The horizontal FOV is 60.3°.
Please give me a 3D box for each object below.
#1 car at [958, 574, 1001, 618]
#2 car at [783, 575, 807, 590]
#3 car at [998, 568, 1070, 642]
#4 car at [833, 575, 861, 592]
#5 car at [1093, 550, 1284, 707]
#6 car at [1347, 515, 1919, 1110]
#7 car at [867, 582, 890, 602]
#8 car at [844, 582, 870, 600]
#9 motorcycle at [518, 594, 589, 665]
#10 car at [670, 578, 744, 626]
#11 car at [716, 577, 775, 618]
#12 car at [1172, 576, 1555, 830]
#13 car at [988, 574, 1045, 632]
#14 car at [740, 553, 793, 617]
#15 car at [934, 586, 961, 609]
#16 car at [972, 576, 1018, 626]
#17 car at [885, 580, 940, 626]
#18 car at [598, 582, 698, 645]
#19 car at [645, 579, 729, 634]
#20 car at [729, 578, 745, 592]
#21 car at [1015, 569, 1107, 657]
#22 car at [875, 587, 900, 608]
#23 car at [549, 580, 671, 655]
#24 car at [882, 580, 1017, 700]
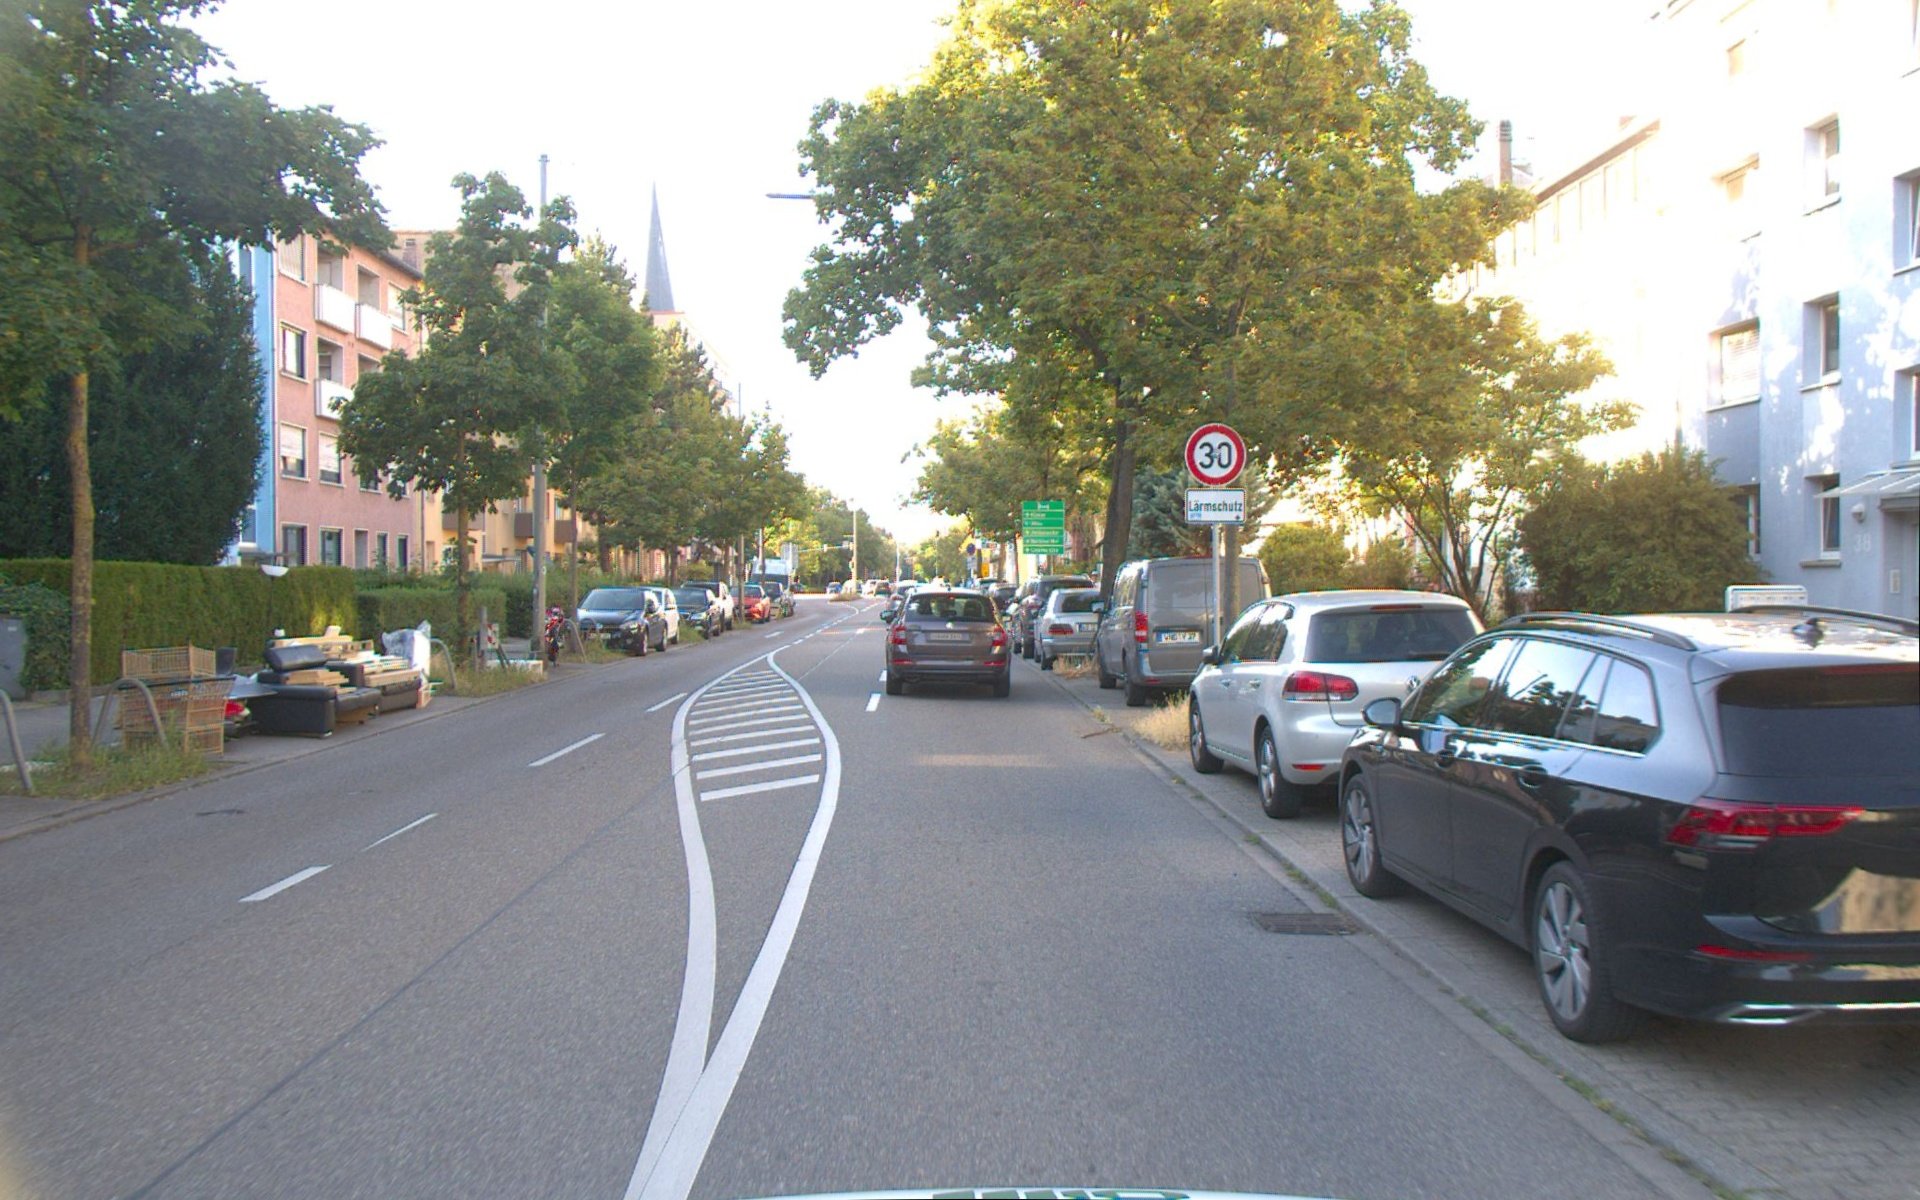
[{"bbox_3d":[0.831,-0.201,71.655,1.718,1.837,3.999,1,1,-1],"label":"car"},{"bbox_3d":[-18.864,-2.023,188.576,1.625,1.627,3.570,-1,1,-26],"label":"car"},{"bbox_3d":[1.904,0.096,43.542,1.718,1.837,4.000,1,1,0],"label":"car"},{"bbox_3d":[-12.231,-1.764,178.745,1.964,1.780,3.978,-1,1,-19],"label":"car"},{"bbox_3d":[2.991,0.306,22.828,1.877,1.892,5.633,0,1,0],"label":"car"},{"bbox_3d":[2.987,0.599,6.936,1.718,1.716,4.252,1,1,0],"label":"car"},{"bbox_3d":[-7.771,-0.776,157.592,1.955,1.780,3.994,0,1,-7],"label":"car"},{"bbox_3d":[-10.379,-0.953,166.530,1.960,1.780,3.984,-1,1,-15],"label":"car"},{"bbox_3d":[-7.537,0.527,30.756,0.725,1.225,2.142,1,1,1],"label":"motorcycle"},{"bbox_3d":[-8.351,0.032,54.912,1.744,1.506,3.971,1,1,1],"label":"car"},{"bbox_3d":[-8.434,-0.126,65.383,1.744,1.506,3.971,1,1,1],"label":"car"},{"bbox_3d":[2.838,0.646,12.576,1.719,1.584,4.102,1,0,-3],"label":"car"},{"bbox_3d":[1.842,0.069,54.810,1.718,1.837,4.000,1,1,0],"label":"car"},{"bbox_3d":[-9.072,-0.723,77.927,1.951,2.829,5.502,1,1,-2],"label":"car"},{"bbox_3d":[-0.934,-0.220,122.390,1.613,1.626,3.645,0,1,-7],"label":"car"},{"bbox_3d":[1.372,0.012,66.207,1.718,1.837,4.000,-3,1,0],"label":"car"},{"bbox_3d":[-1.741,0.111,60.034,1.854,1.532,3.788,3,0,-2],"label":"car"},{"bbox_3d":[-8.014,0.312,42.783,1.744,1.506,3.971,1,1,1],"label":"car"},{"bbox_3d":[-8.069,0.163,49.222,1.744,1.506,3.971,1,1,1],"label":"car"},{"bbox_3d":[-27.599,-1.851,204.768,1.957,1.780,3.992,0,1,-9],"label":"car"},{"bbox_3d":[2.109,0.238,35.484,1.718,1.745,4.000,1,1,0],"label":"car"},{"bbox_3d":[-5.605,-0.181,127.580,1.746,1.506,3.967,1,1,-5],"label":"car"},{"bbox_3d":[-7.631,0.342,36.360,1.744,1.506,4.033,1,1,1],"label":"car"},{"bbox_3d":[-0.127,0.497,23.517,1.718,1.518,4.000,1,1,0],"label":"car"}]
